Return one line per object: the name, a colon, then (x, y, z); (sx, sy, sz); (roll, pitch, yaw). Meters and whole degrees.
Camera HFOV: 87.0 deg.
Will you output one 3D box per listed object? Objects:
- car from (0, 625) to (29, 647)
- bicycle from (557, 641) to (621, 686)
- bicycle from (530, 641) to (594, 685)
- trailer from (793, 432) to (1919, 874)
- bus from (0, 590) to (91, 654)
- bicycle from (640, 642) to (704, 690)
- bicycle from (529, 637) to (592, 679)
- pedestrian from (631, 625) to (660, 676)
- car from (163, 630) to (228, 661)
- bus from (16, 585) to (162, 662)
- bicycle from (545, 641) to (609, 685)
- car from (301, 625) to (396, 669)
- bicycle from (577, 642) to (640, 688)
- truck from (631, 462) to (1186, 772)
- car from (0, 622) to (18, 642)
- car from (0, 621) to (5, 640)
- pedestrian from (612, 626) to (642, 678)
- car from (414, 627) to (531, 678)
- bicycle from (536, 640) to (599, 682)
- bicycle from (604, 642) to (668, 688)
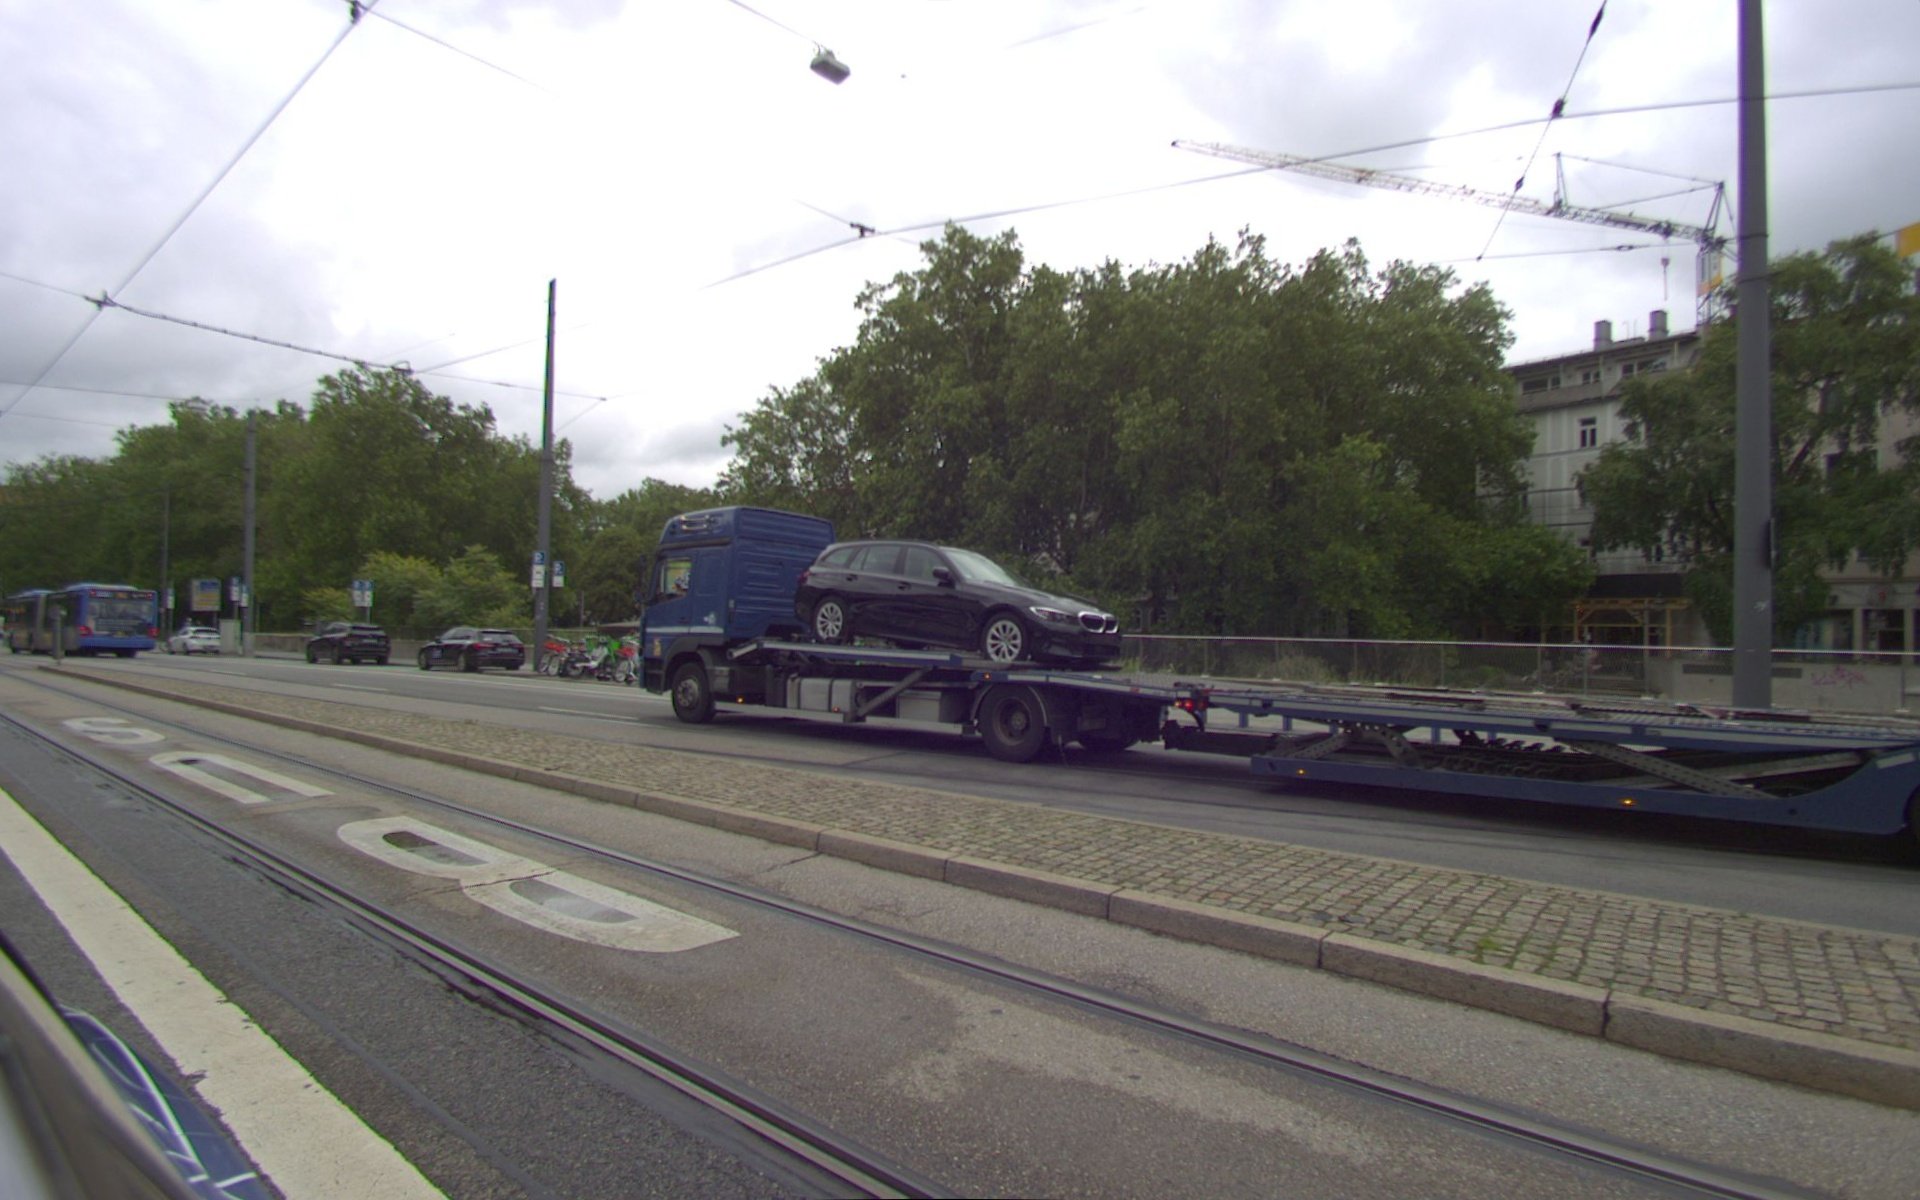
car: (-76.526, 2.912, 81.511); (3.998, 1.697, 1.786); (-1, -2, 41)
bicycle: (-10.204, 1.741, 27.878); (0.560, 1.181, 1.675); (-1, -2, 31)
bicycle: (-11.242, 1.756, 28.636); (0.504, 1.181, 1.674); (-1, -2, 34)
trailer: (4.769, 0.413, 8.771); (15.624, 2.703, 2.584); (-1, -4, 40)
bus: (-48.873, 1.184, 53.208); (12.834, 2.989, 2.599); (-1, -4, 40)
bicycle: (-7.529, 1.704, 26.521); (0.560, 1.181, 1.675); (-1, -2, 31)
bicycle: (-11.761, 1.692, 29.822); (0.561, 1.181, 1.672); (-1, -2, 38)
pedestrian: (-9.806, 1.569, 31.543); (0.588, 1.570, 0.624); (-1, -3, 40)
car: (-39.791, 2.347, 52.646); (3.998, 1.542, 1.868); (-1, -3, 41)
bus: (-38.800, 1.048, 44.819); (13.403, 2.989, 2.599); (-1, -4, 40)
bicycle: (-10.666, 1.748, 28.238); (0.504, 1.181, 1.674); (-1, -2, 33)
car: (-23.660, 1.792, 39.116); (4.099, 1.582, 1.973); (-1, -2, 41)
bicycle: (-9.465, 1.731, 27.309); (0.504, 1.181, 1.675); (-1, -2, 31)
truck: (-1.069, 0.275, 13.585); (7.683, 3.111, 2.540); (-1, -4, 39)
car: (-84.086, 2.811, 88.657); (3.998, 1.697, 1.786); (-1, -2, 41)
car: (-89.909, 2.793, 93.665); (3.998, 1.697, 1.786); (-1, -2, 41)
pedestrian: (-10.143, 1.578, 30.842); (0.588, 1.570, 0.624); (-1, -3, 40)
car: (-15.808, 1.655, 32.733); (4.230, 1.537, 1.840); (-1, -3, 41)
bicycle: (-11.382, 1.757, 29.367); (0.505, 1.181, 1.672); (-1, -2, 37)
bicycle: (-8.635, 1.720, 27.018); (0.560, 1.181, 1.675); (-1, -2, 31)
